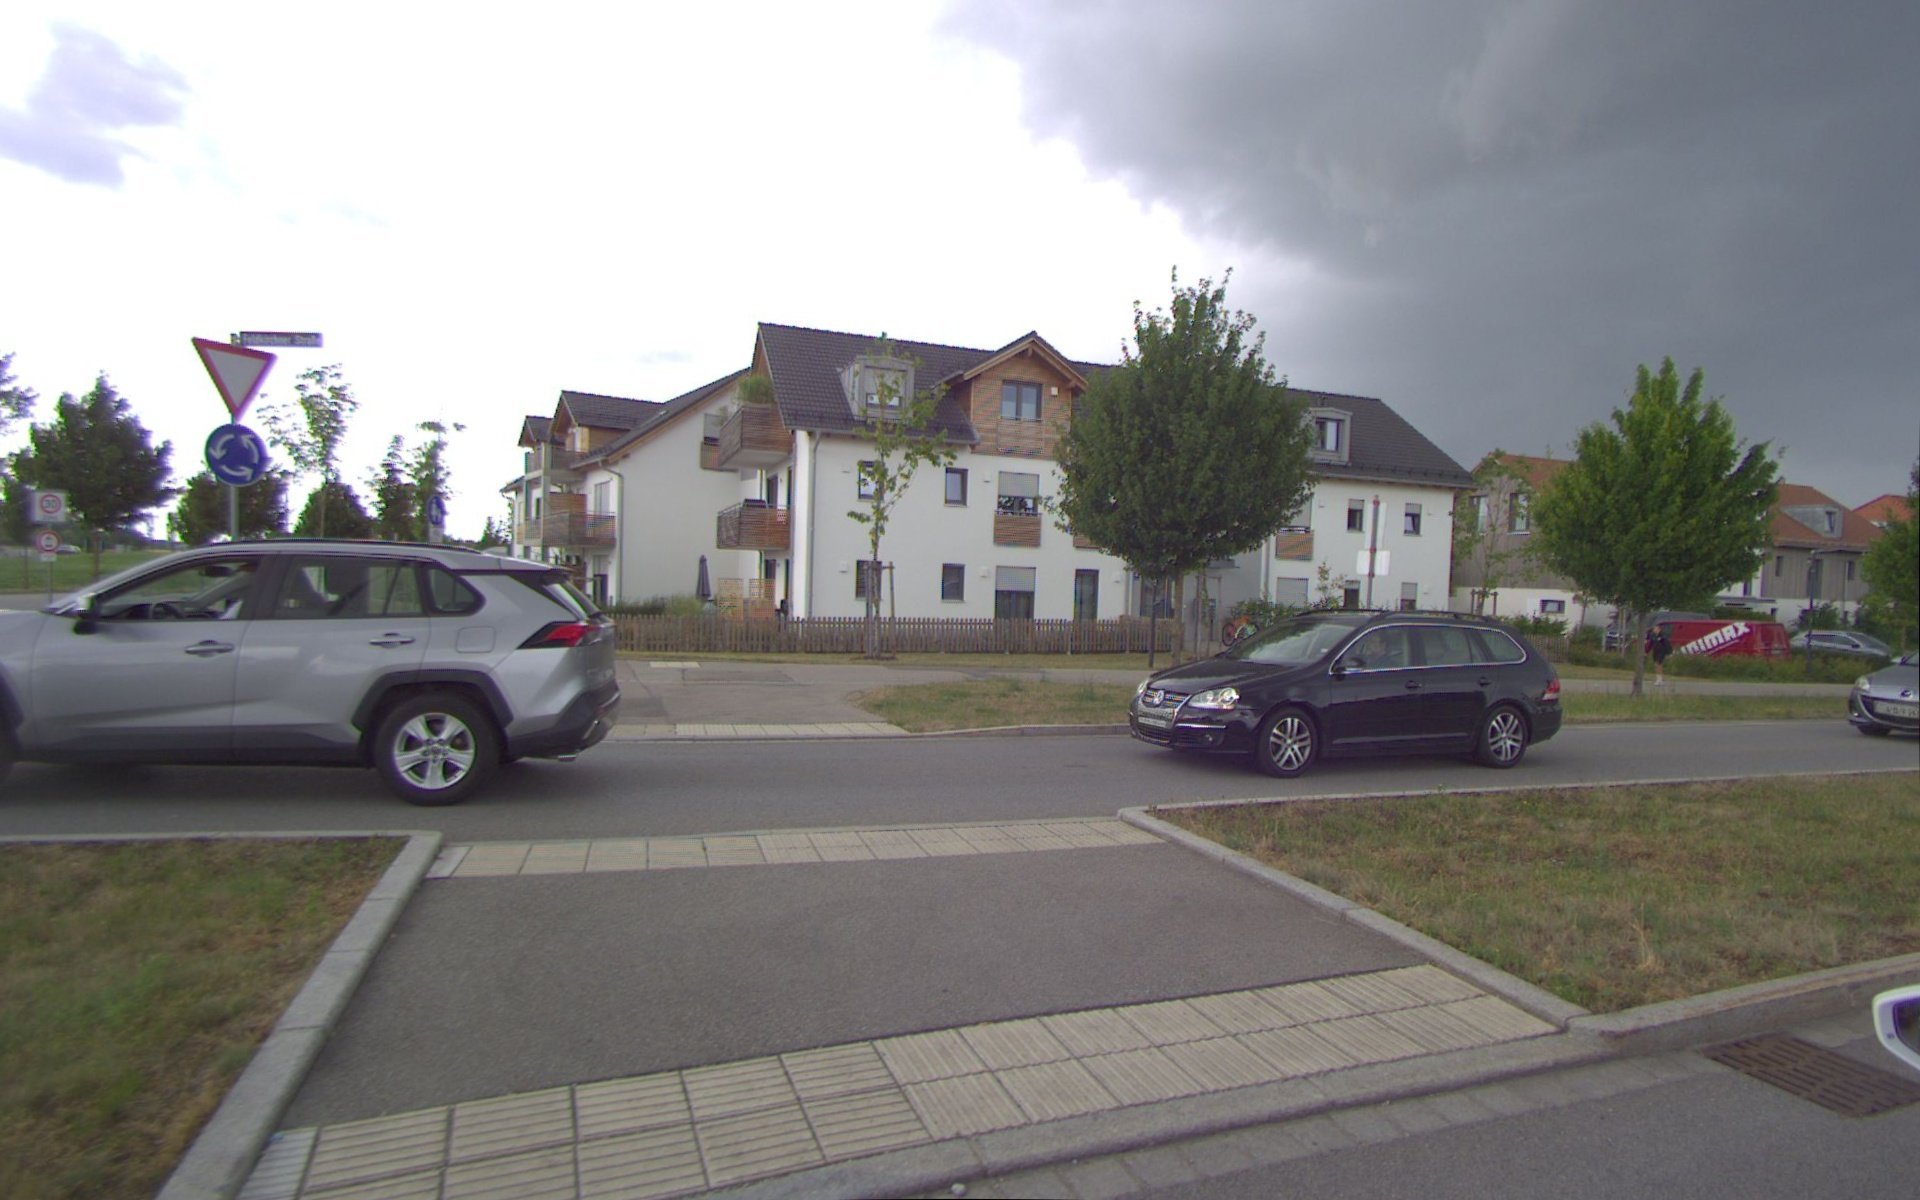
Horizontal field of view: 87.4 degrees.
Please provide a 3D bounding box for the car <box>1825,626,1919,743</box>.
[{"bbox_3d":[13.998,1.154,13.594,4.144,1.429,1.727,2,0,-22],"label":"car"}]

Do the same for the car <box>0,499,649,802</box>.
[{"bbox_3d":[-4.650,0.345,6.944,4.555,1.726,1.995,2,-1,-13],"label":"car"}]

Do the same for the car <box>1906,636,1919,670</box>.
[{"bbox_3d":[43.718,2.430,43.432,1.663,1.502,3.718,2,2,-24],"label":"car"}]

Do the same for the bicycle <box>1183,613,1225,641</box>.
[{"bbox_3d":[8.147,0.901,33.521,1.317,0.854,0.367,2,4,-20],"label":"bicycle"}]

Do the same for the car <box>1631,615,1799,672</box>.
[{"bbox_3d":[27.223,1.517,36.433,1.969,1.702,4.526,2,1,-18],"label":"car"}]

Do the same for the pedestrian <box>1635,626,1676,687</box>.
[{"bbox_3d":[18.685,1.513,26.973,0.650,1.580,0.580,2,2,-23],"label":"pedestrian"}]

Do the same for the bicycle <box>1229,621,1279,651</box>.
[{"bbox_3d":[9.047,1.119,30.910,1.523,0.854,0.367,2,4,-20],"label":"bicycle"}]

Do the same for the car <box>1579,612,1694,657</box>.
[{"bbox_3d":[31.179,1.569,46.314,4.394,1.795,1.993,3,1,-17],"label":"car"}]

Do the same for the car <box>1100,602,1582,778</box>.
[{"bbox_3d":[3.740,0.806,9.845,4.391,1.435,1.750,2,-1,-22],"label":"car"}]

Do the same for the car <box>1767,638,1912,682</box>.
[{"bbox_3d":[34.822,2.348,39.887,1.817,1.333,3.904,2,2,-23],"label":"car"}]
